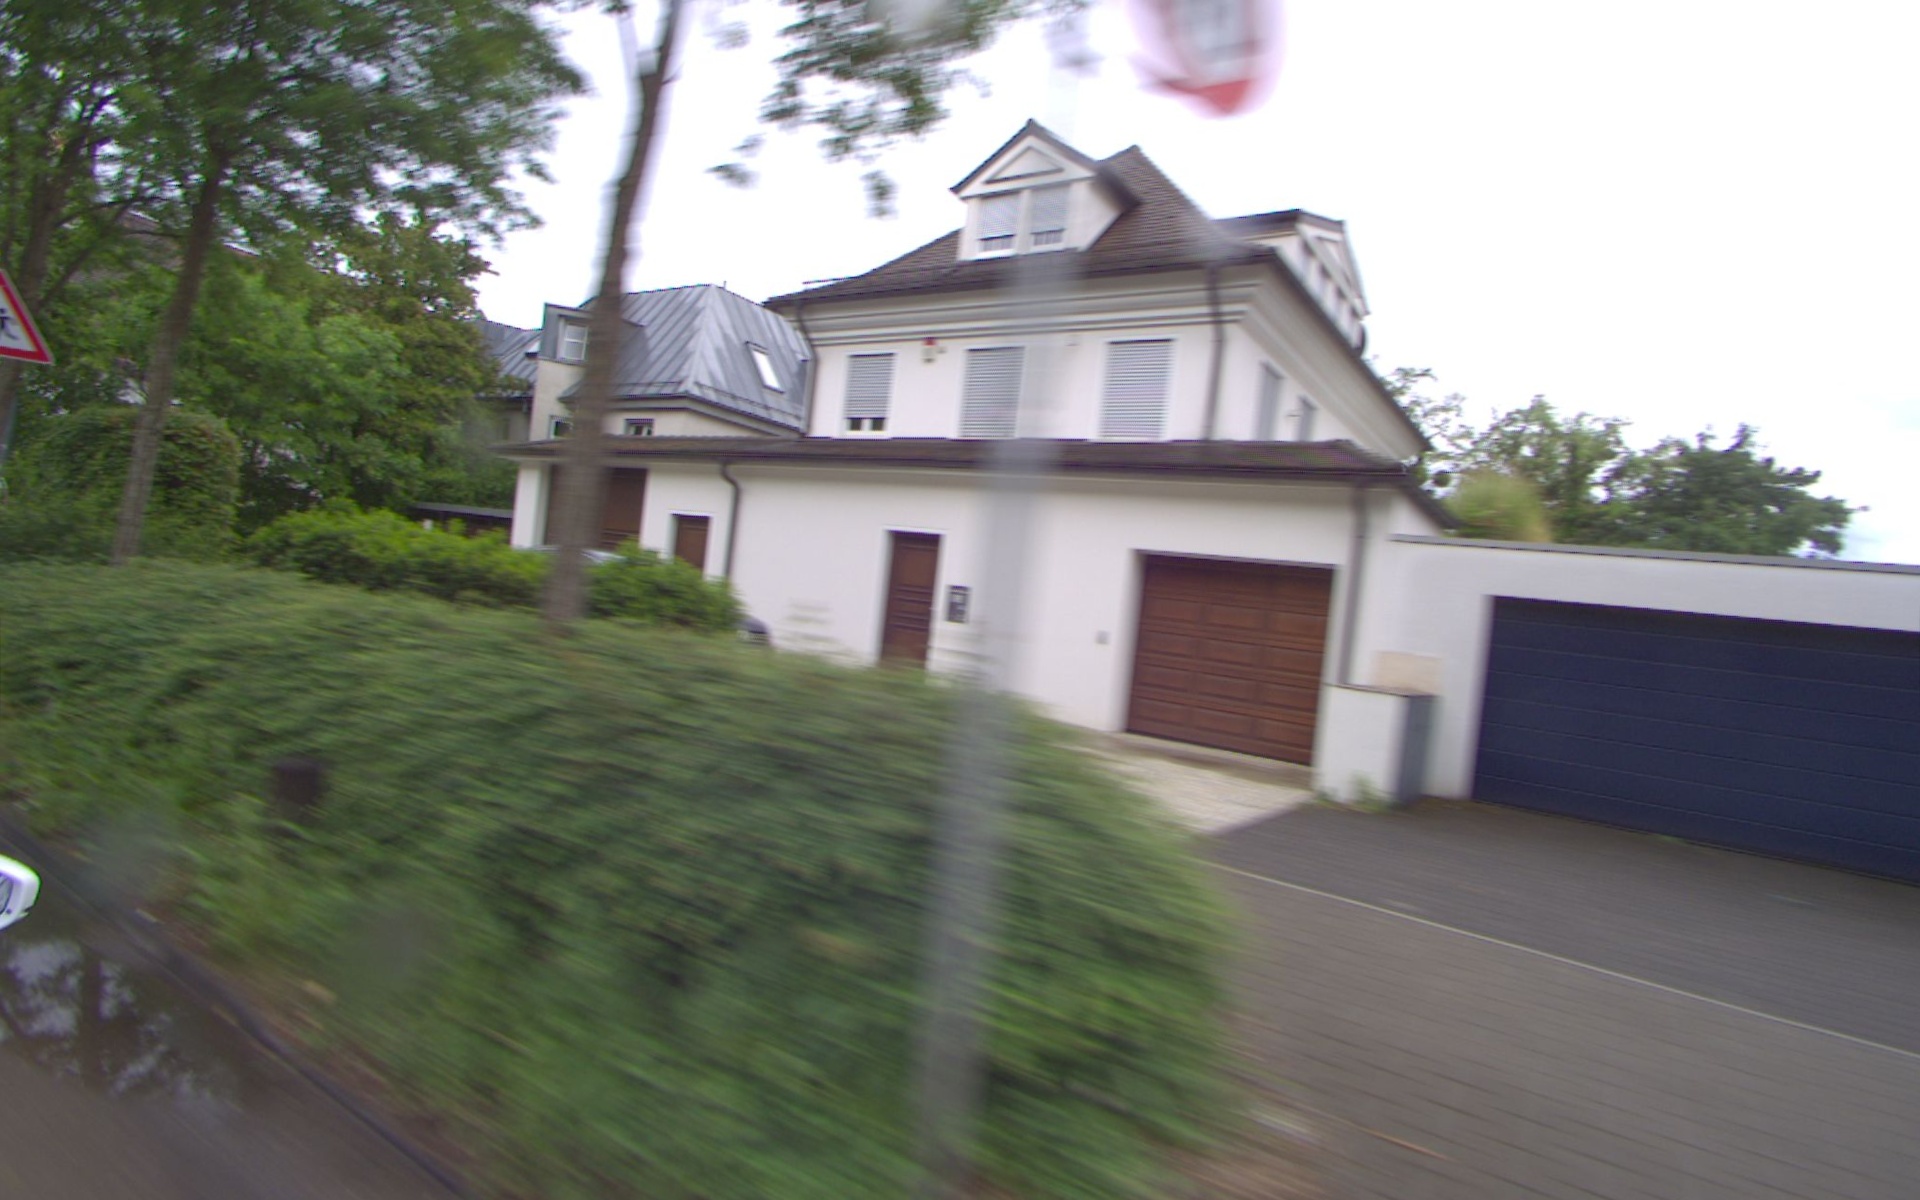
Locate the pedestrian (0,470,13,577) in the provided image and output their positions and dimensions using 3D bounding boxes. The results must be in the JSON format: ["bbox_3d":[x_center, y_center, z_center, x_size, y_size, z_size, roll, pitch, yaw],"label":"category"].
[{"bbox_3d":[-15.911,-1.279,16.374,0.509,1.729,0.560,7,1,42],"label":"pedestrian"}]

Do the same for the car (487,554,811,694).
[{"bbox_3d":[-3.951,0.269,12.531,3.940,1.190,1.832,6,-2,38],"label":"car"}]
